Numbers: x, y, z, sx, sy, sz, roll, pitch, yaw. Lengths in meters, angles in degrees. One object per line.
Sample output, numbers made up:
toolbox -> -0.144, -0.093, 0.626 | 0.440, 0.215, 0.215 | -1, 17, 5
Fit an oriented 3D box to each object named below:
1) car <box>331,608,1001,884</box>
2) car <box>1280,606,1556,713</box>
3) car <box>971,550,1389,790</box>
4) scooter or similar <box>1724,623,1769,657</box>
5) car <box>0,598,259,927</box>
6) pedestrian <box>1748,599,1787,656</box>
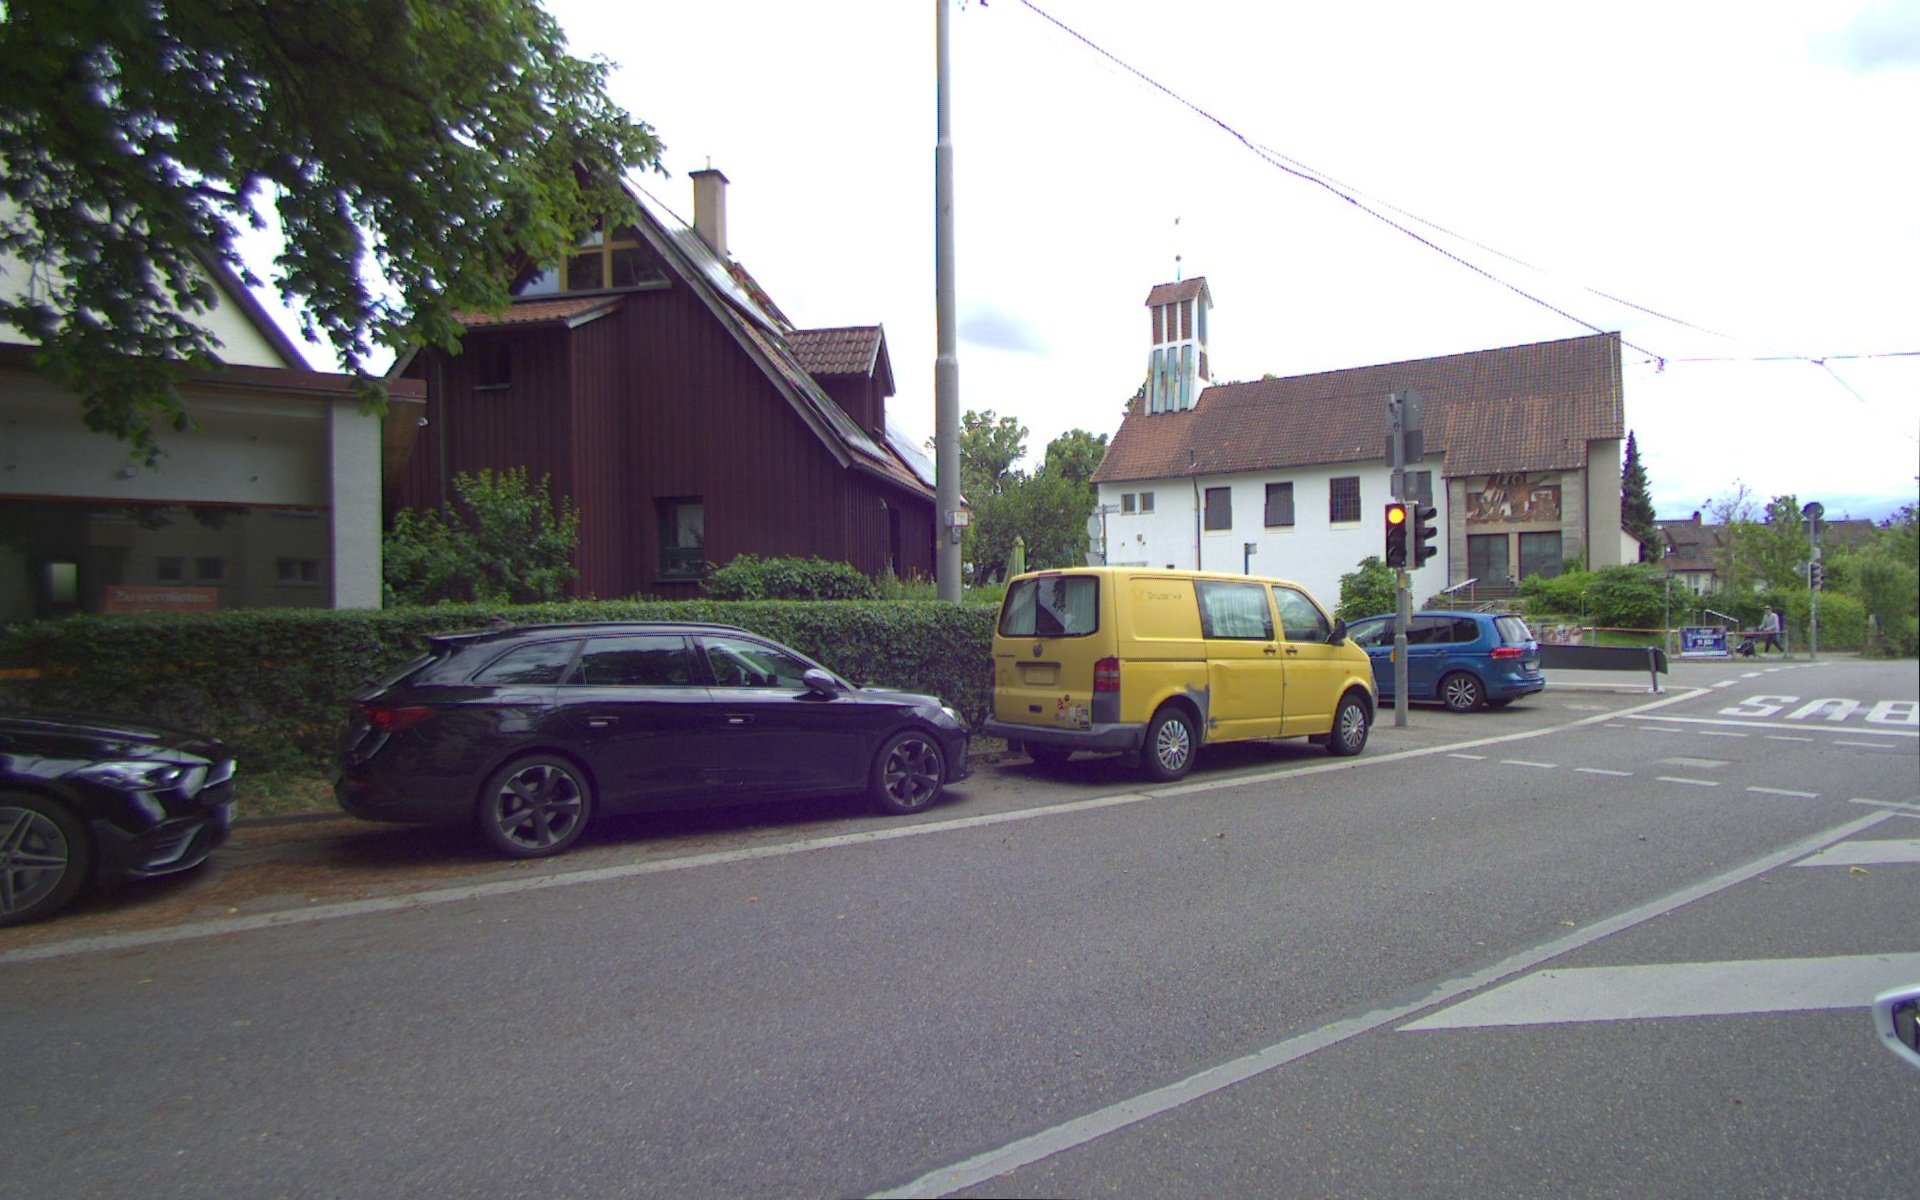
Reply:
car -> -1.998, 0.845, 7.446 | 4.494, 1.505, 1.681 | 1, -2, -34
car -> 7.812, 0.990, 17.372 | 1.806, 1.632, 3.948 | 1, -3, -44
car -> 2.460, 0.646, 10.690 | 4.523, 2.040, 1.870 | 1, -2, -37
scooter or similar -> 26.078, 1.317, 33.312 | 1.091, 1.095, 0.577 | 0, -1, -9
car -> -6.214, 0.762, 4.762 | 4.561, 1.520, 1.984 | 1, -2, -31
pedestrian -> 26.926, 0.920, 33.489 | 0.871, 1.887, 0.573 | 0, -1, -10
